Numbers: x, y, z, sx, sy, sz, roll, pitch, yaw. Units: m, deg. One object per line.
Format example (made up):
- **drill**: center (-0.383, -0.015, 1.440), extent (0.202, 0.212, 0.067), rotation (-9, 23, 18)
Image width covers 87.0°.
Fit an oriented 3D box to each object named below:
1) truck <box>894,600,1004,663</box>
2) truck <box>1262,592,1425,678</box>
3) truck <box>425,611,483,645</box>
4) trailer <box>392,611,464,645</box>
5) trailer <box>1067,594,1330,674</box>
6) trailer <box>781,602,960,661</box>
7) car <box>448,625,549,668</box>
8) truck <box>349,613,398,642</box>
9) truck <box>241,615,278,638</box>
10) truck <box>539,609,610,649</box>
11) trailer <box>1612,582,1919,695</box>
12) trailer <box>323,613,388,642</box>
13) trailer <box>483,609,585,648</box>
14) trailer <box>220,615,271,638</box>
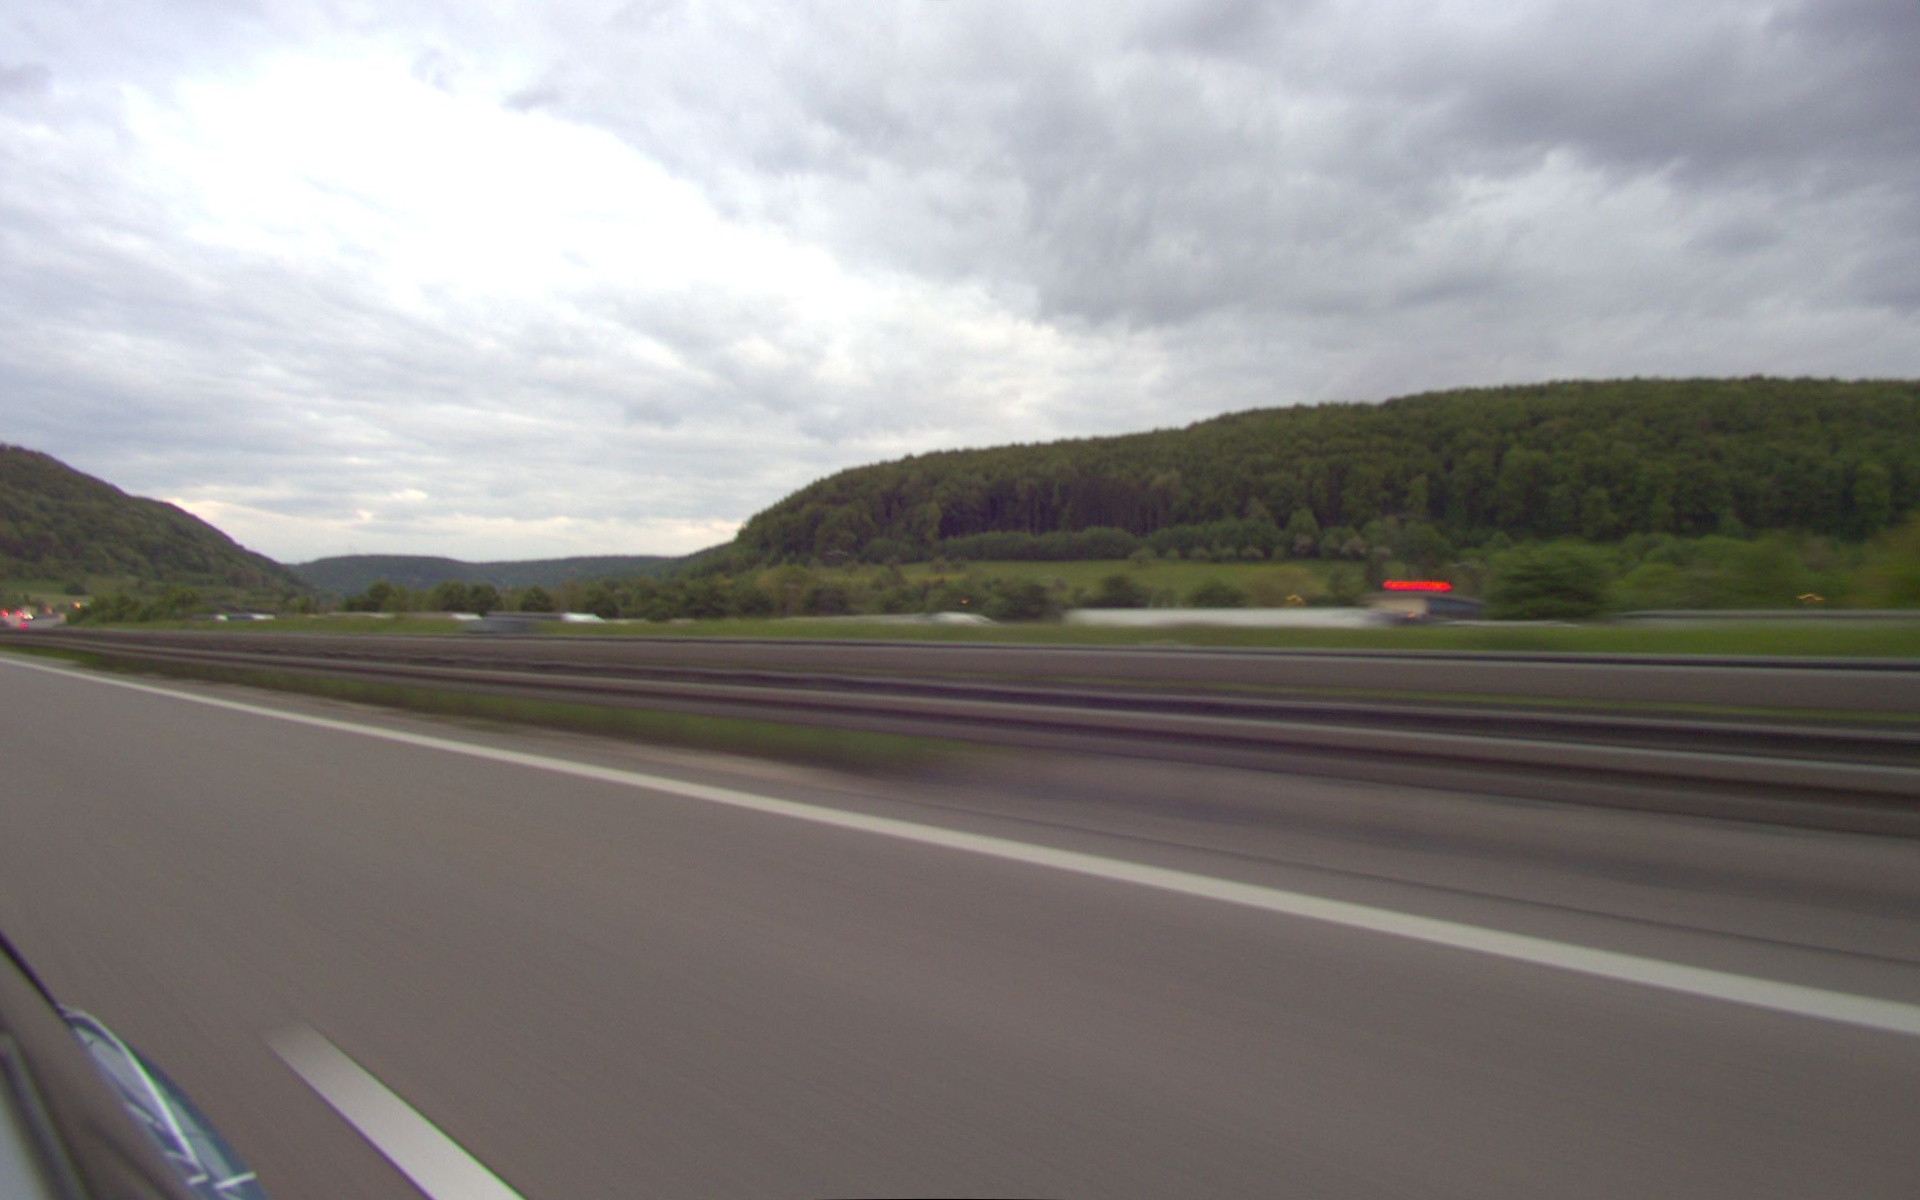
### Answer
- **truck**: center (-0.616, 1.648, 53.137), extent (5.302, 3.112, 2.837), rotation (-1, -2, 41)
- **truck**: center (14.950, 1.333, 39.605), extent (5.302, 3.112, 2.837), rotation (-1, -2, 41)
- **truck**: center (-47.681, 2.630, 95.284), extent (5.890, 3.112, 2.837), rotation (-1, -2, 41)
- **trailer**: center (-52.384, 2.728, 99.476), extent (10.152, 3.112, 2.837), rotation (-1, -2, 42)
- **trailer**: center (10.007, 1.435, 43.978), extent (11.155, 3.112, 2.837), rotation (-1, -2, 42)
- **trailer**: center (-5.293, 1.771, 57.189), extent (11.721, 3.076, 2.843), rotation (-2, -2, 42)
- **car**: center (-19.879, 1.992, 43.503), extent (5.113, 1.714, 1.973), rotation (-1, -5, 41)
- **truck**: center (-63.291, 2.954, 109.175), extent (5.890, 3.112, 2.837), rotation (-1, -2, 41)
- **truck**: center (-95.464, 3.623, 137.879), extent (5.839, 3.112, 2.837), rotation (-1, -2, 41)
- **truck**: center (-30.560, 2.280, 80.230), extent (5.890, 3.112, 2.837), rotation (-1, -2, 41)
- **trailer**: center (26.154, 1.110, 30.045), extent (11.149, 3.112, 2.838), rotation (-1, -2, 40)
- **trailer**: center (-67.566, 3.042, 112.977), extent (11.809, 3.112, 2.837), rotation (-1, -2, 42)
- **trailer**: center (-35.945, 2.392, 85.047), extent (12.480, 3.112, 2.837), rotation (-1, -2, 42)
- **trailer**: center (-100.647, 3.730, 142.459), extent (13.629, 3.112, 2.837), rotation (-1, -2, 42)
